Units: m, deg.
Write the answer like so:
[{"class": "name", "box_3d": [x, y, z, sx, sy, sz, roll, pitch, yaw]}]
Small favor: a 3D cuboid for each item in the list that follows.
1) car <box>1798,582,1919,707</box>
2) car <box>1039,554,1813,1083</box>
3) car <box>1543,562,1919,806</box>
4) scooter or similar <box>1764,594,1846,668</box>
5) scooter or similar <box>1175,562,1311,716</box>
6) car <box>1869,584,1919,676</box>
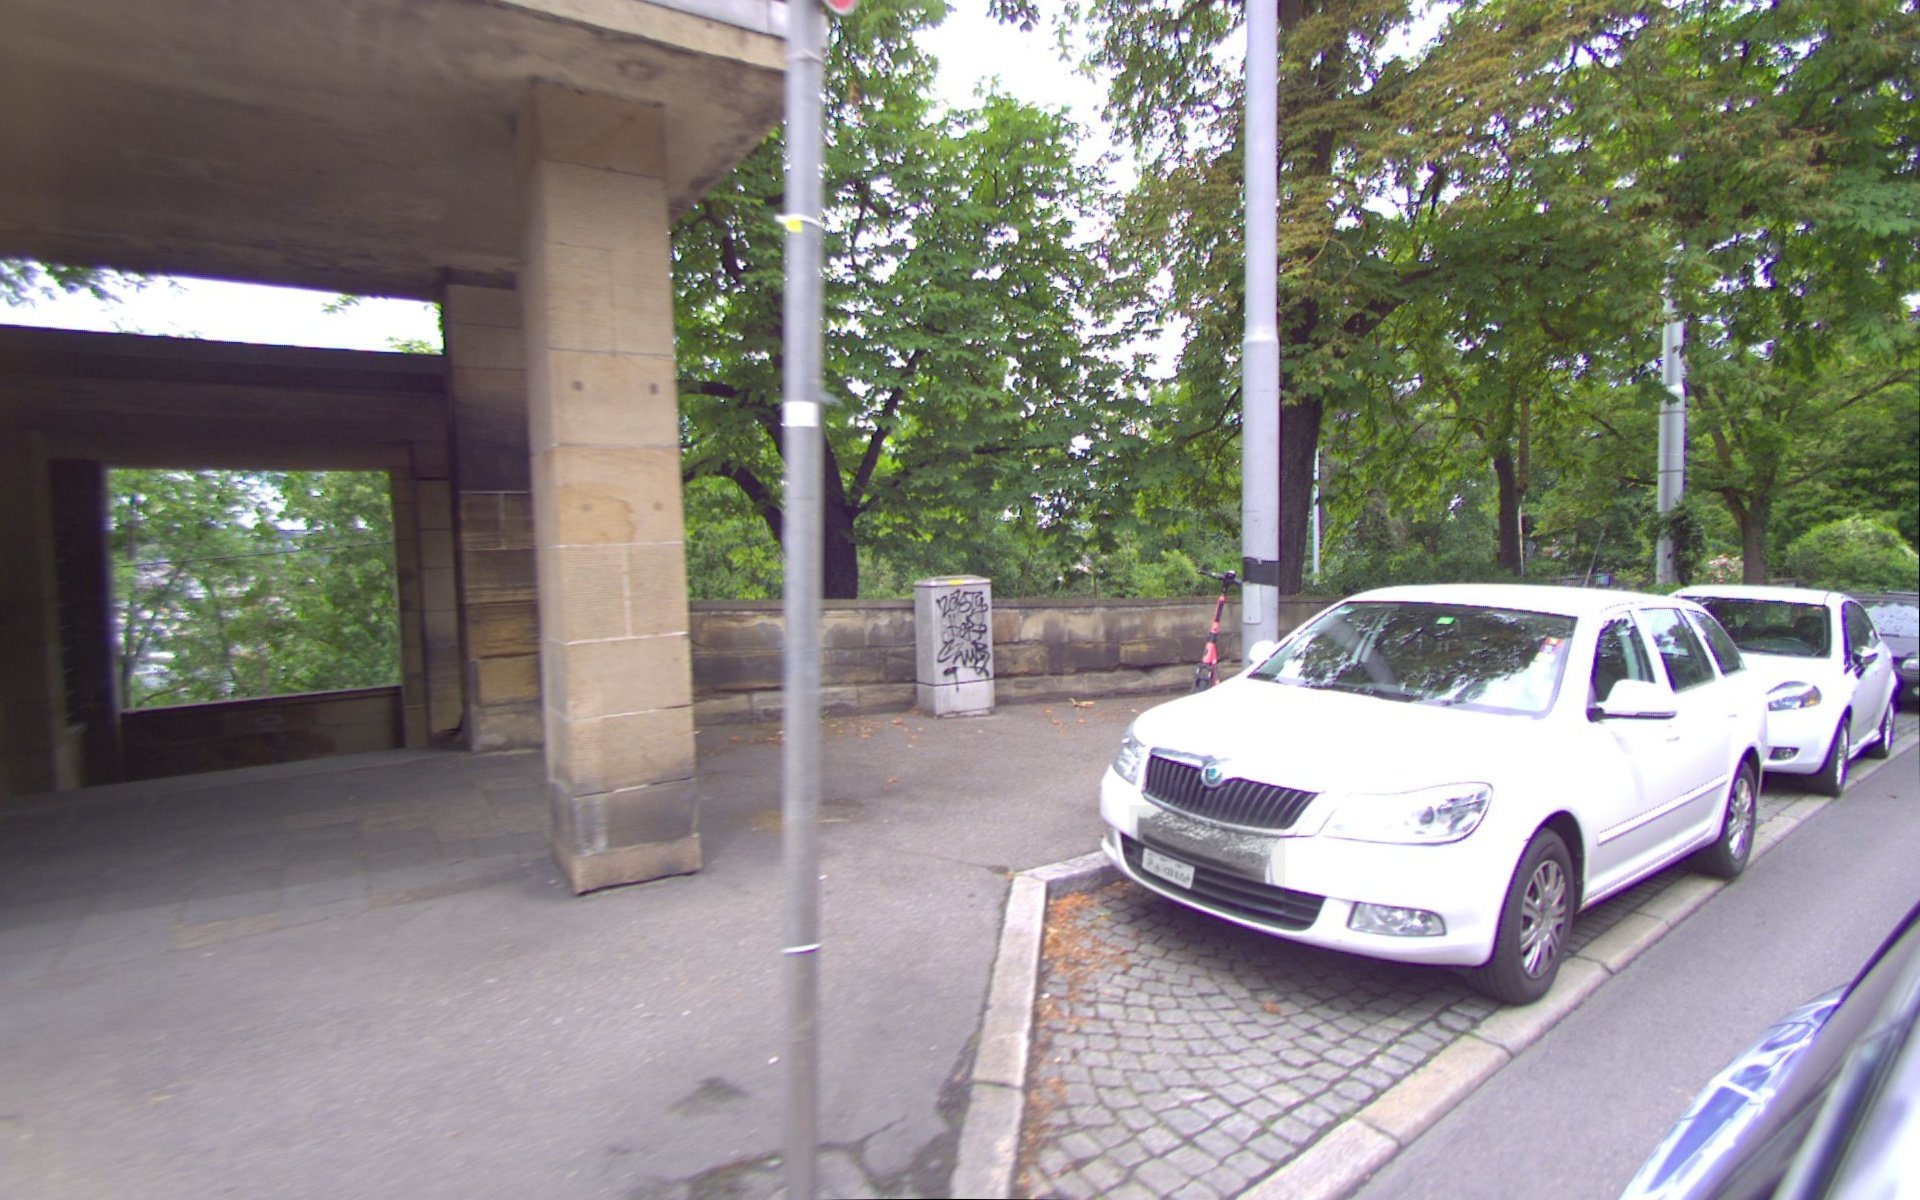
[{"class": "car", "box_3d": [12.695, 0.528, 13.548, 3.362, 1.439, 1.566, -1, 4, -39]}, {"class": "car", "box_3d": [2.522, 0.586, 4.891, 4.288, 1.479, 1.679, 0, 3, -40]}, {"class": "car", "box_3d": [6.612, 0.527, 8.463, 3.967, 1.489, 1.719, 0, 4, -41]}, {"class": "scooter or similar", "box_3d": [15.723, 0.548, 18.826, 1.962, 1.258, 0.563, -1, 6, -35]}, {"class": "scooter or similar", "box_3d": [2.537, 0.326, 9.060, 1.146, 1.275, 0.518, 0, 3, -36]}, {"class": "car", "box_3d": [16.939, 0.468, 16.879, 4.467, 1.416, 1.776, -1, 3, -37]}]
